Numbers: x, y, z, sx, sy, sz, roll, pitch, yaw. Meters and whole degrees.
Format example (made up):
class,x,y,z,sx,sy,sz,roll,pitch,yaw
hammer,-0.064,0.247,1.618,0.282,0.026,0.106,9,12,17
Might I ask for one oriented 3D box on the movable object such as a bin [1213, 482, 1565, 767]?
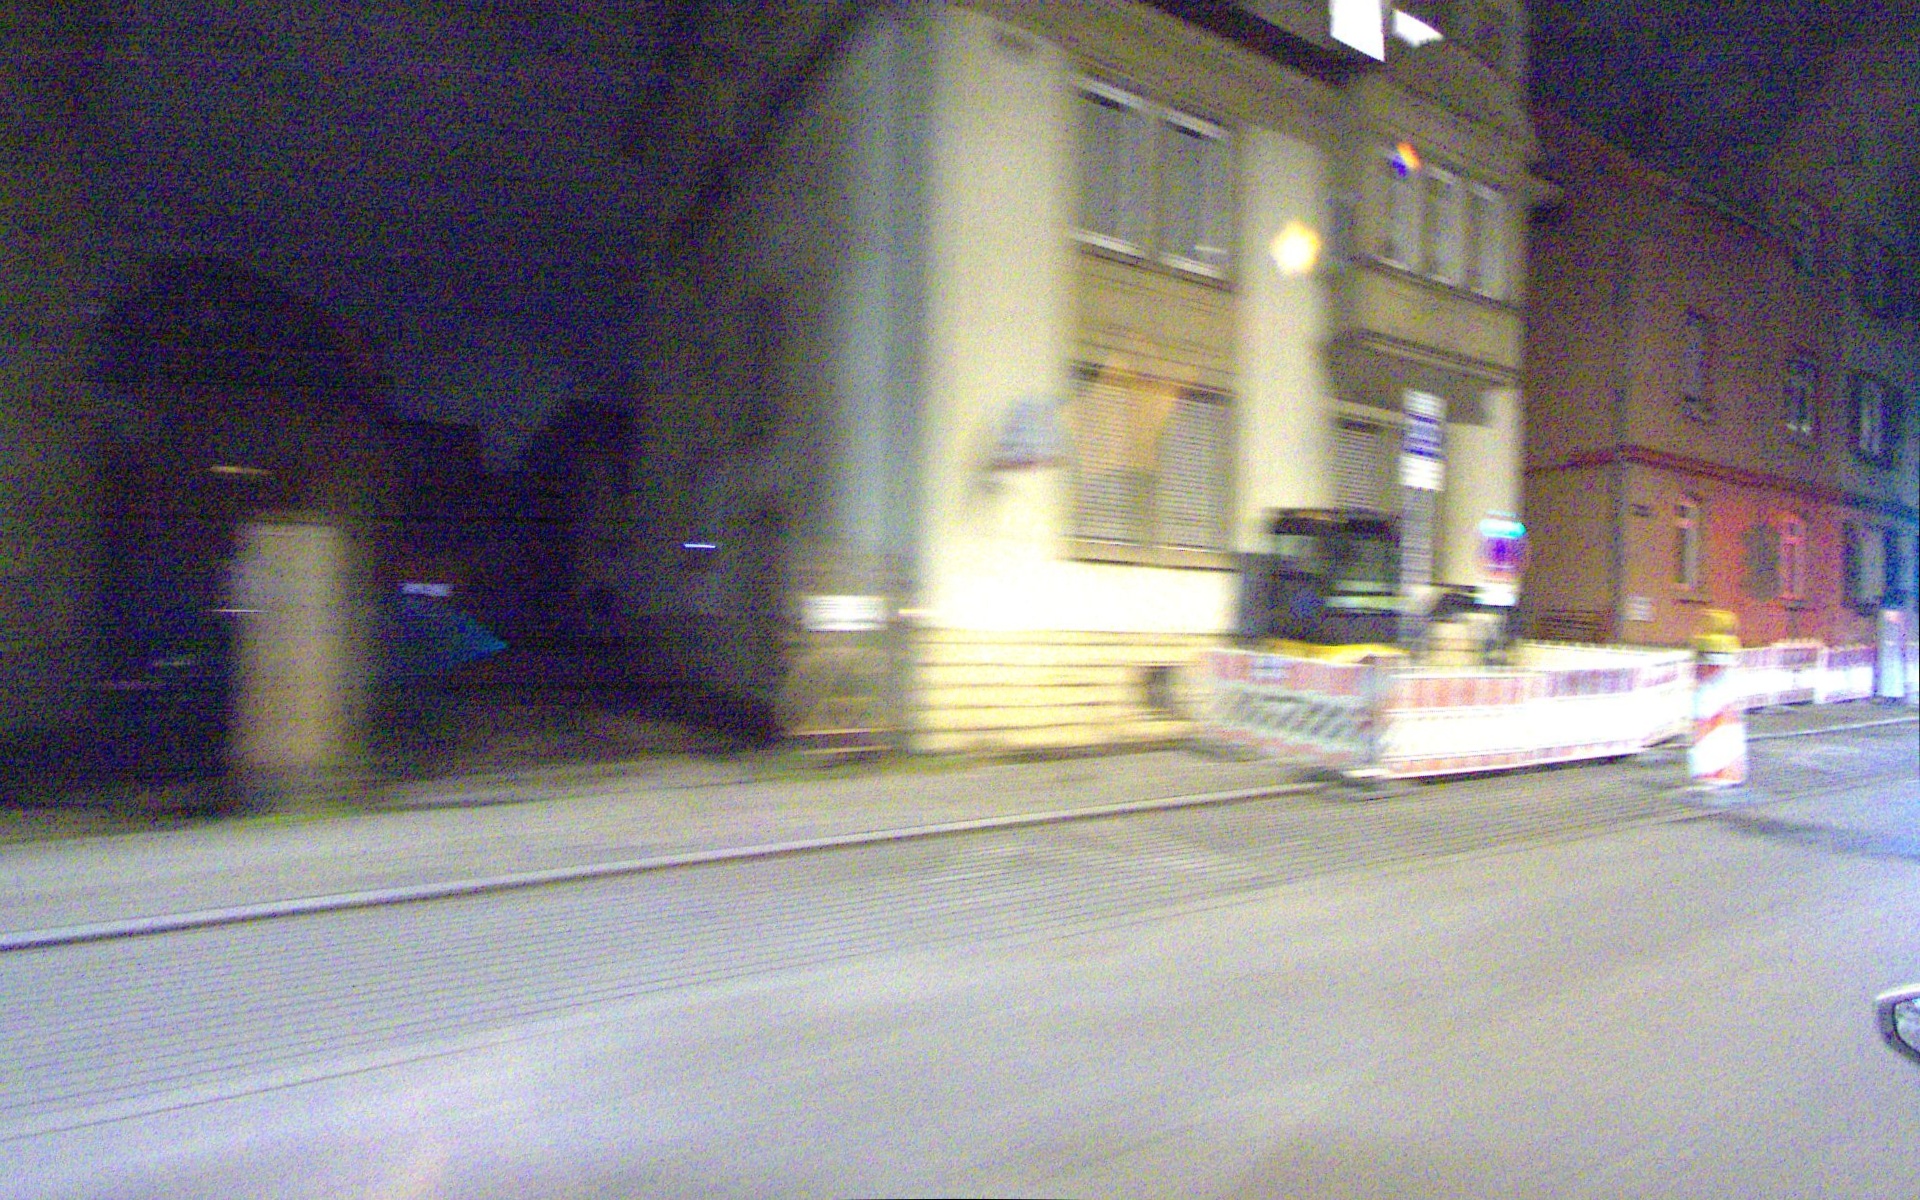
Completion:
class,x,y,z,sx,sy,sz,roll,pitch,yaw
movable object such as a bin,4.767,0.275,11.044,3.863,2.661,1.564,1,-1,-30
